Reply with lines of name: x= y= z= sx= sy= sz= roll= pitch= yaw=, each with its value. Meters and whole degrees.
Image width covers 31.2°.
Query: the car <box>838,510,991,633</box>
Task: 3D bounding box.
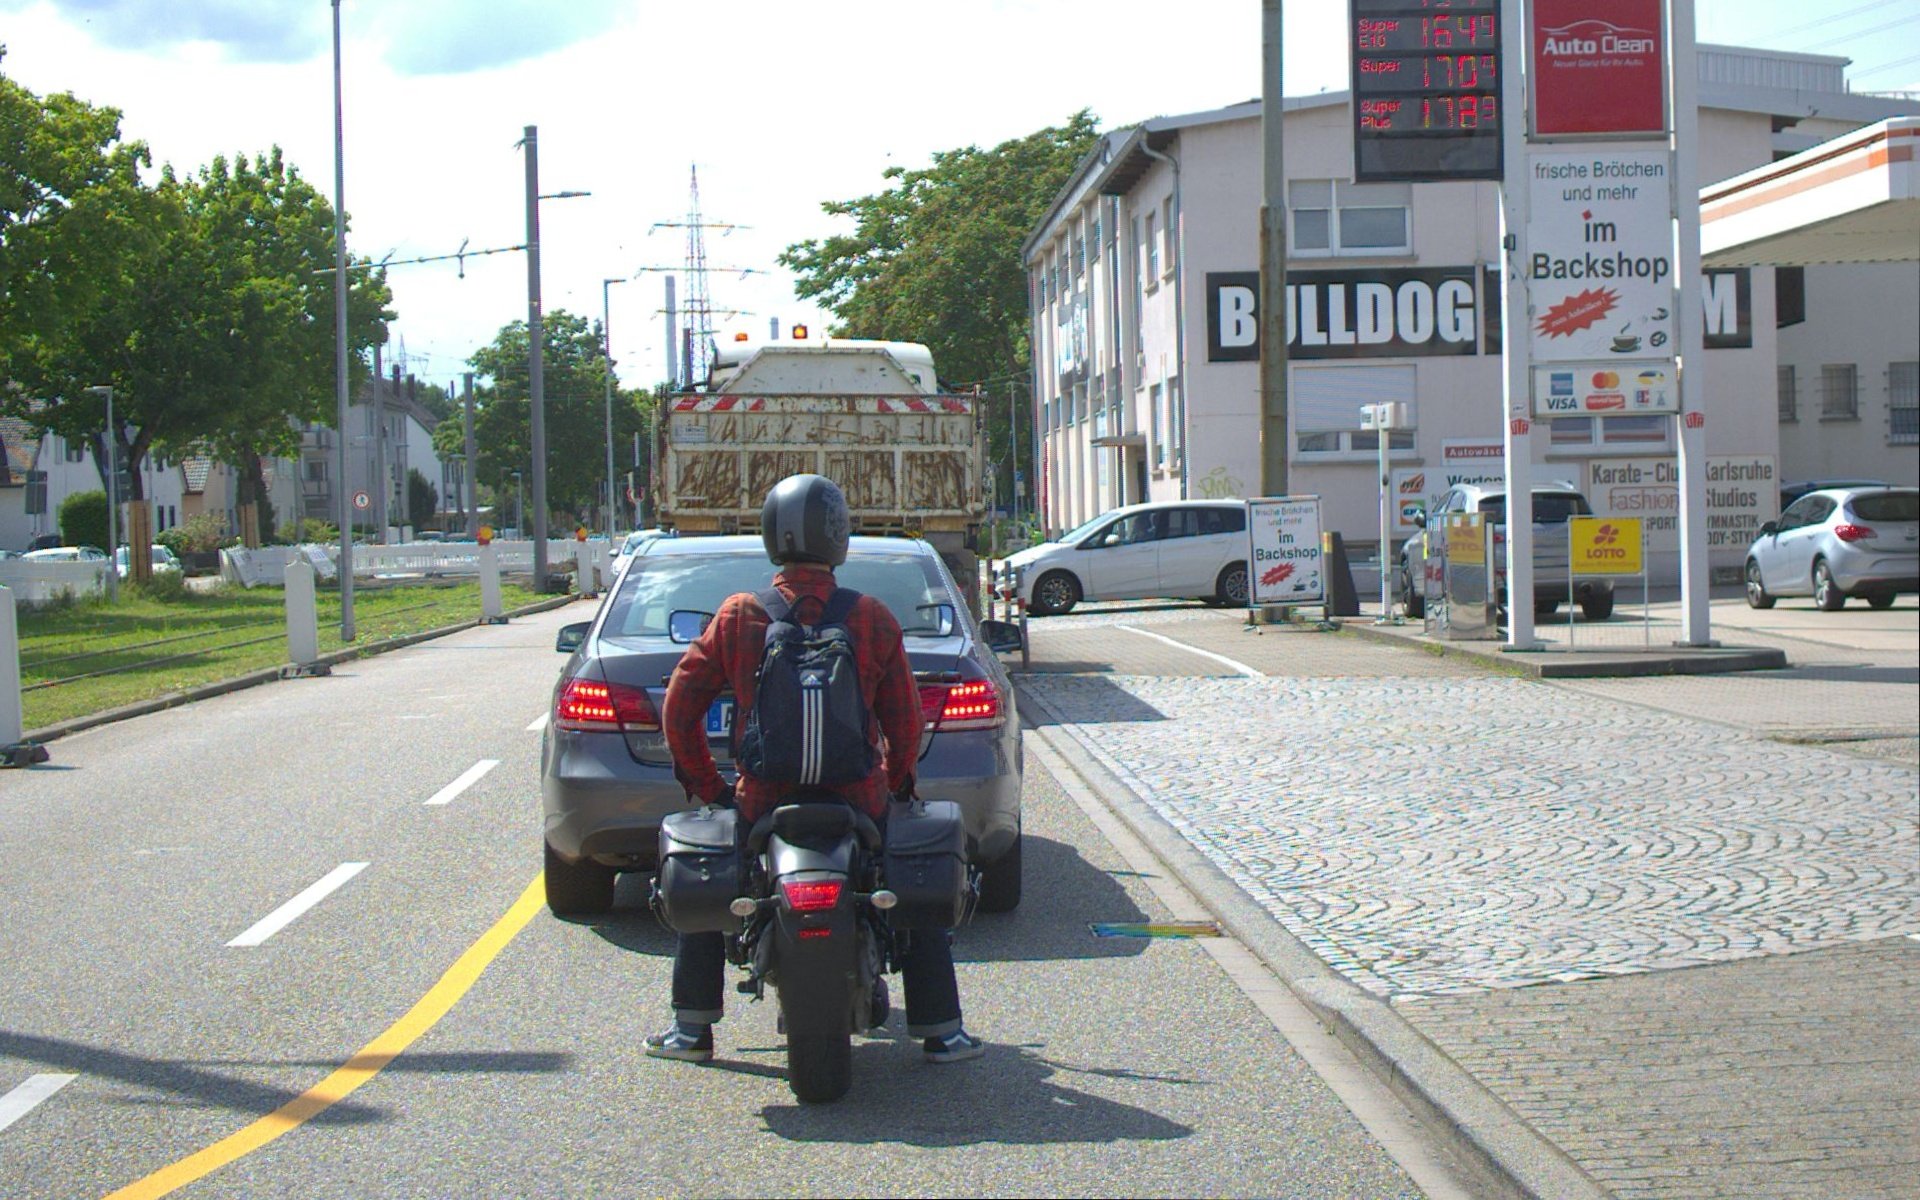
car: x=-0.594 y=-0.395 z=43.267 sx=1.821 sy=1.459 sz=4.001 roll=-1 pitch=1 yaw=-1

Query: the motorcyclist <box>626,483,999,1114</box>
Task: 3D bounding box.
motorcyclist: x=-0.397 y=0.501 z=9.416 sx=0.939 sy=1.609 sz=1.205 roll=1 pitch=1 yaw=-2

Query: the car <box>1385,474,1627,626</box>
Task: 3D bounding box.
car: x=6.448 y=-0.594 z=41.030 sx=1.959 sy=1.643 sz=4.001 roll=-2 pitch=1 yaw=-4

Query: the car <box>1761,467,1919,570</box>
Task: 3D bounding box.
car: x=16.041 y=-1.426 z=59.078 sx=3.986 sy=1.643 sz=1.966 roll=-2 pitch=1 yaw=-2

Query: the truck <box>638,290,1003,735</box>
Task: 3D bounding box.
truck: x=-1.139 y=-0.851 z=30.374 sx=2.610 sy=3.244 sz=9.183 roll=-2 pitch=2 yaw=-1

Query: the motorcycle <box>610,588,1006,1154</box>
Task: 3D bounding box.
motorcycle: x=-0.408 y=0.650 z=9.600 sx=0.939 sy=1.316 sz=2.645 roll=1 pitch=1 yaw=-2

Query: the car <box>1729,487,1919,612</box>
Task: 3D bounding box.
car: x=10.937 y=-0.627 z=41.856 sx=1.959 sy=1.415 sz=4.001 roll=-2 pitch=1 yaw=-4

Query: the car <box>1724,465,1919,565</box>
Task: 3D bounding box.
car: x=15.949 y=-1.535 z=61.621 sx=3.986 sy=1.643 sz=1.966 roll=-2 pitch=1 yaw=-2

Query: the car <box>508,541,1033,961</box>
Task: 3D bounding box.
car: x=-0.727 y=0.493 z=14.067 sx=1.821 sy=1.419 sz=4.001 roll=-1 pitch=1 yaw=-2

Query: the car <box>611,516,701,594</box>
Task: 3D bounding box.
car: x=-6.077 y=-0.927 z=69.024 sx=1.654 sy=1.442 sz=4.304 roll=-2 pitch=2 yaw=-4

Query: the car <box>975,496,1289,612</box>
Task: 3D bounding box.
car: x=2.555 y=-0.687 z=51.618 sx=4.329 sy=1.546 sz=1.950 roll=-2 pitch=1 yaw=-10

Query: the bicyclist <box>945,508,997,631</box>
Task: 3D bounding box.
bicyclist: x=0.158 y=-0.443 z=49.126 sx=0.671 sy=1.738 sz=0.814 roll=-1 pitch=1 yaw=-2

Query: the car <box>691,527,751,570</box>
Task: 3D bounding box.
car: x=-8.199 y=-1.771 z=118.277 sx=1.846 sy=1.382 sz=4.345 roll=-2 pitch=1 yaw=-2
